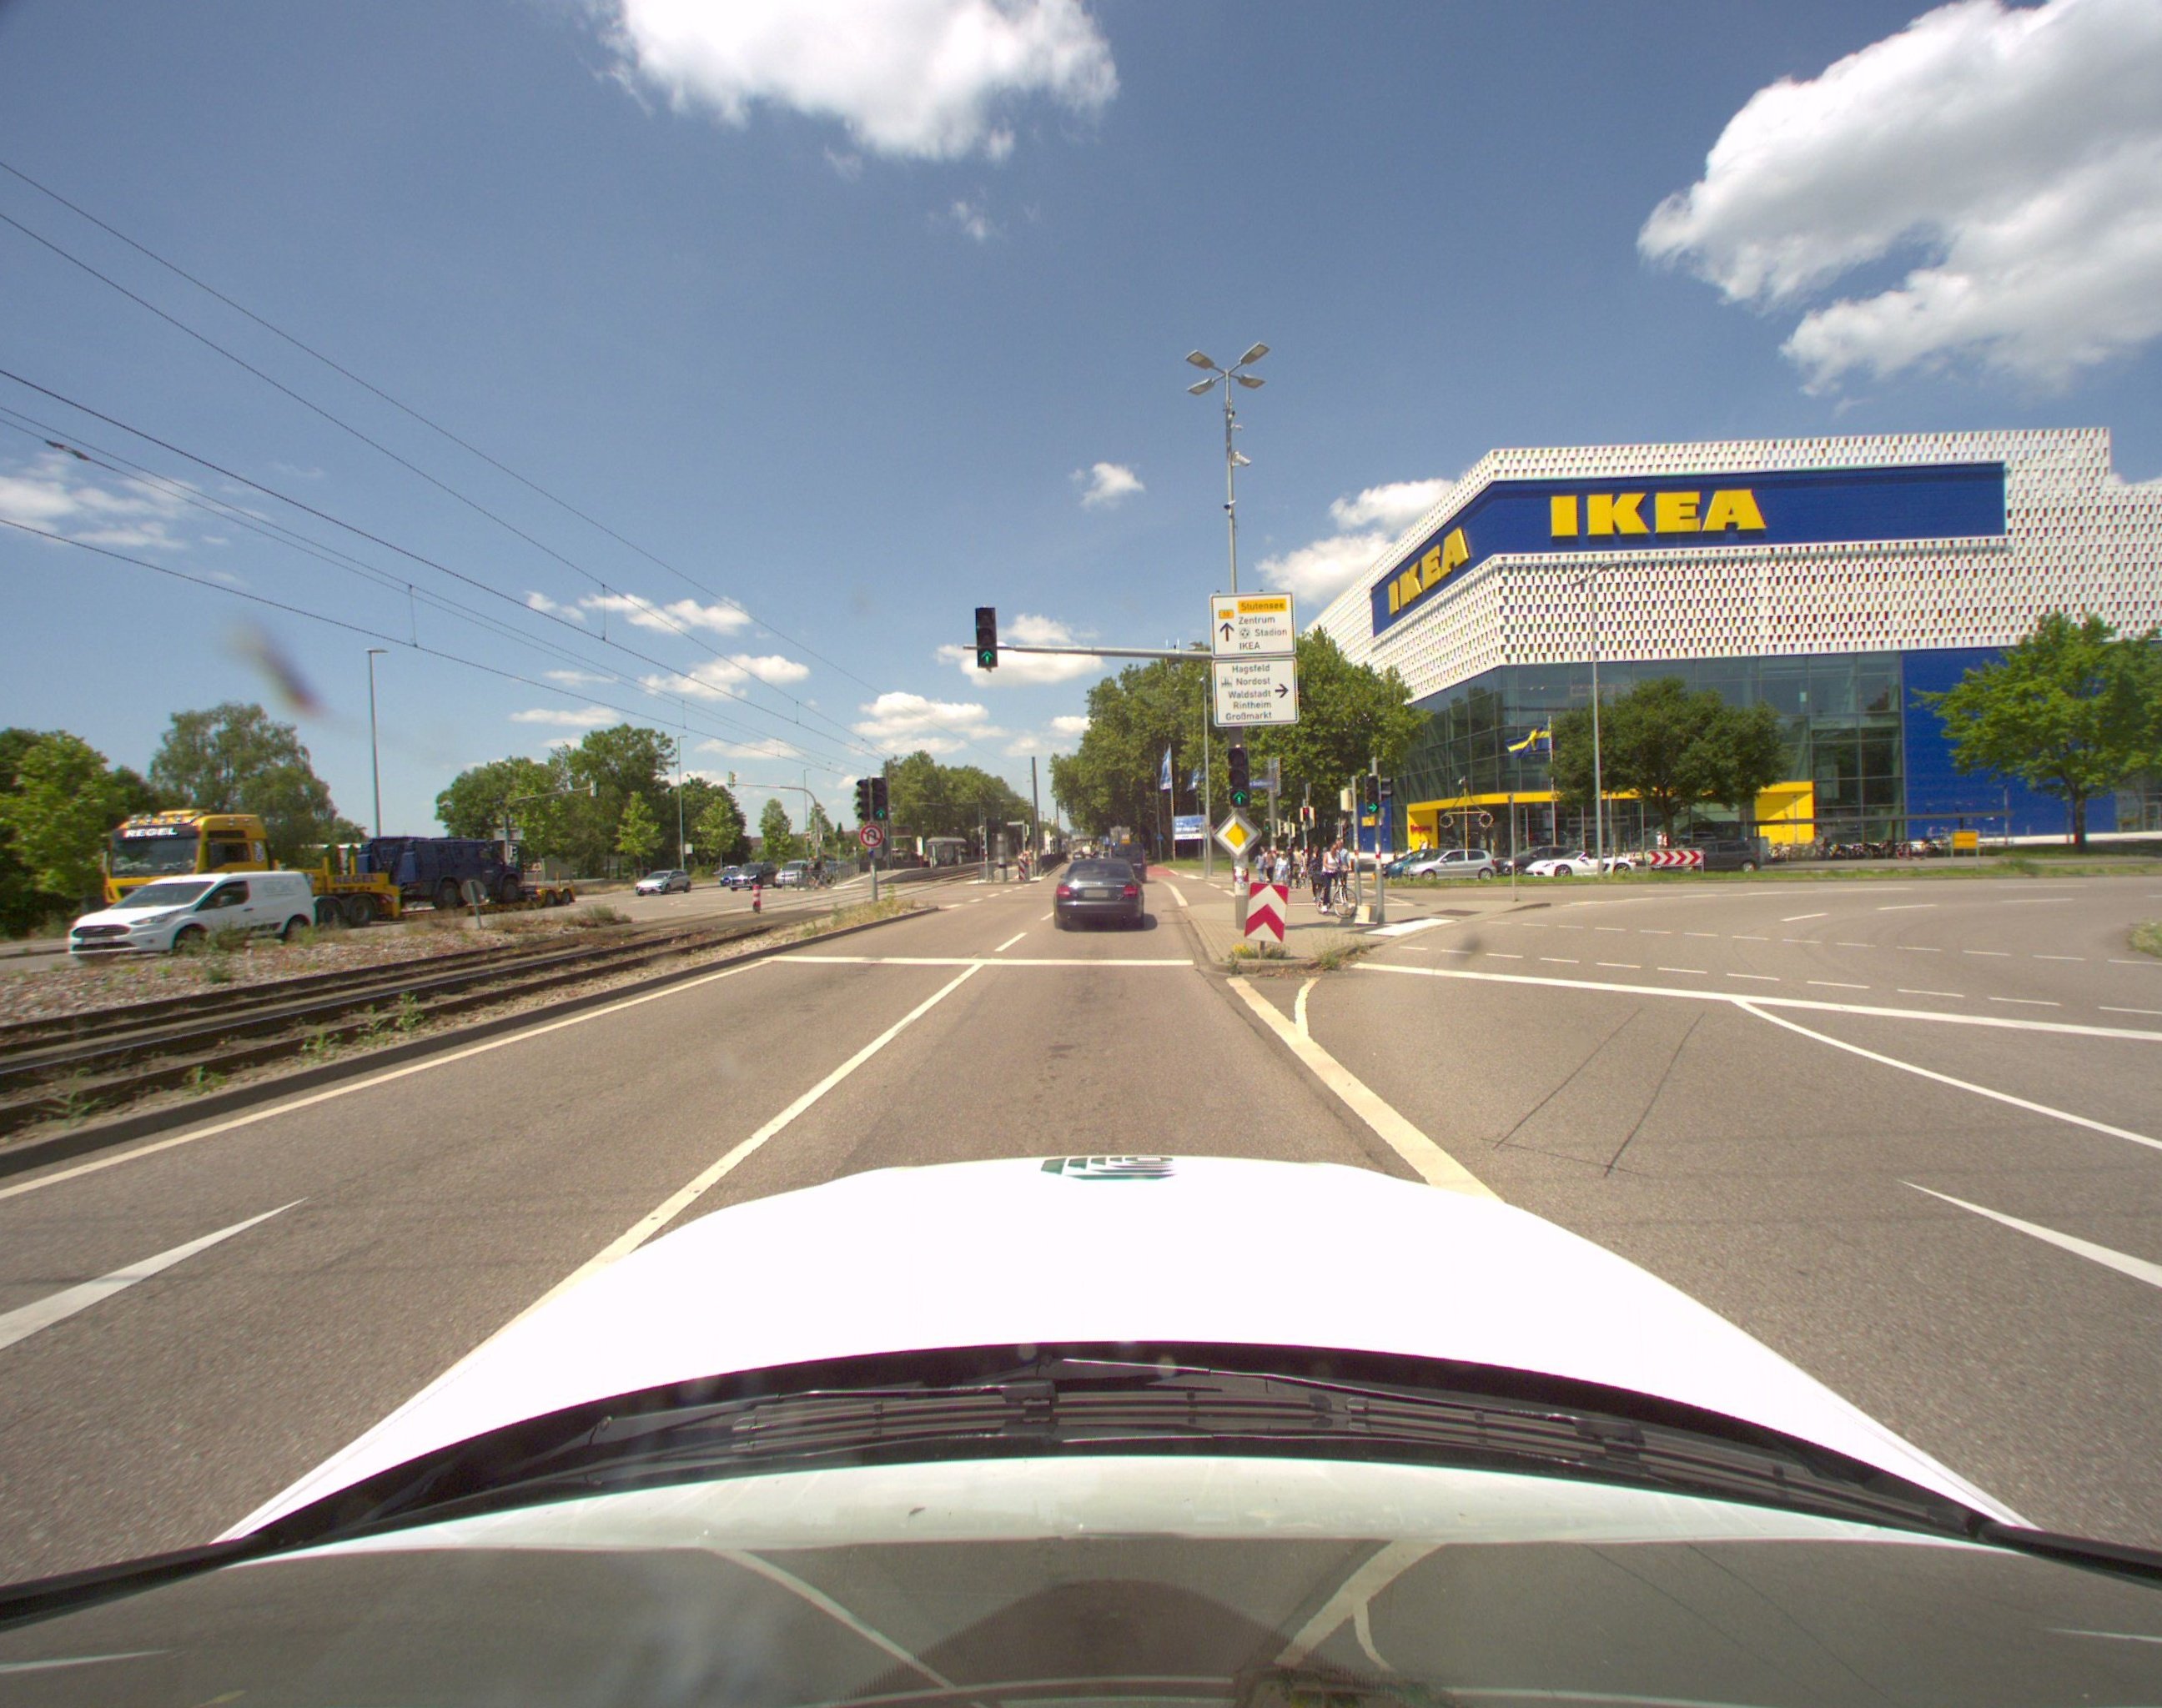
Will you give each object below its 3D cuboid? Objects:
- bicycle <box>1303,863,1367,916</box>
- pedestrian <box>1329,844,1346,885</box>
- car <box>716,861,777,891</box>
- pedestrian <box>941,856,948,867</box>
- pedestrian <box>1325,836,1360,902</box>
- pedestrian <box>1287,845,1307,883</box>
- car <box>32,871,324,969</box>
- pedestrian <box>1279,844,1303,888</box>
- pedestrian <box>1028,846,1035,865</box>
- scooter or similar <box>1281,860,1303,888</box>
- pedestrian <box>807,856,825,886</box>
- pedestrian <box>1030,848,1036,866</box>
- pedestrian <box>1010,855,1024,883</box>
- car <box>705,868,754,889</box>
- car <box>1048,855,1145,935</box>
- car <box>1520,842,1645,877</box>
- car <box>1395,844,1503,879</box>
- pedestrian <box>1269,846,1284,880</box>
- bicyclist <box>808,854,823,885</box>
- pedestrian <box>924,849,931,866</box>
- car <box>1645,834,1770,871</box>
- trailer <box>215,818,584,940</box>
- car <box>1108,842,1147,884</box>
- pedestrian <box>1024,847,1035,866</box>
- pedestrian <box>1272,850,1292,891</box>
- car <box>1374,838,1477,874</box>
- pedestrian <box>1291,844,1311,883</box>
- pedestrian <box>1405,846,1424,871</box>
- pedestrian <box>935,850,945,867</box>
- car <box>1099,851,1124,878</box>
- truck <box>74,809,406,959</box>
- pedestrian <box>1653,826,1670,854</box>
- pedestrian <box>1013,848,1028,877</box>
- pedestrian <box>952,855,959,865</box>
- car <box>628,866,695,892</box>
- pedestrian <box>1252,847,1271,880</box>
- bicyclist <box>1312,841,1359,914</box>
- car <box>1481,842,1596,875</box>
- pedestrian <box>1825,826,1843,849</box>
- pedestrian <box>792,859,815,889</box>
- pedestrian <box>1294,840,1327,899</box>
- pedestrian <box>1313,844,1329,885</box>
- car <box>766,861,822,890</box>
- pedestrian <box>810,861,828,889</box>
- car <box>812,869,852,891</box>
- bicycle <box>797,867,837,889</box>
[{"bbox_3d":[6.037,0.826,19.438,0.827,1.162,1.876,-1,0,-4],"label":"bicycle"},{"bbox_3d":[10.367,0.413,32.944,0.598,1.638,0.867,-1,-1,15],"label":"pedestrian"},{"bbox_3d":[-20.407,1.328,49.860,1.986,1.629,4.001,-1,1,1],"label":"car"},{"bbox_3d":[-14.521,0.821,86.891,0.574,1.094,0.639,-2,0,1],"label":"pedestrian"},{"bbox_3d":[7.645,0.434,23.828,0.800,1.865,0.799,-1,0,4],"label":"pedestrian"},{"bbox_3d":[9.621,0.423,36.330,0.788,1.659,0.856,-1,0,17],"label":"pedestrian"},{"bbox_3d":[-19.998,1.348,18.414,1.992,1.838,4.422,-1,0,-7],"label":"car"},{"bbox_3d":[8.250,0.459,32.050,0.778,1.672,0.949,-1,0,7],"label":"pedestrian"},{"bbox_3d":[-4.500,0.135,74.241,0.612,1.681,0.719,-1,0,-2],"label":"pedestrian"},{"bbox_3d":[8.182,0.759,31.574,0.686,1.031,0.864,-1,0,7],"label":"scooter or similar"},{"bbox_3d":[-15.256,0.958,46.826,0.760,1.672,0.763,-2,0,-2],"label":"pedestrian"},{"bbox_3d":[-4.276,0.238,72.797,0.496,1.577,0.557,-2,0,-1],"label":"pedestrian"},{"bbox_3d":[-3.686,0.876,46.983,0.783,1.572,0.764,-1,0,-3],"label":"pedestrian"},{"bbox_3d":[-27.519,1.903,63.959,1.987,1.444,4.348,-1,0,-1],"label":"car"},{"bbox_3d":[0.394,0.786,17.601,1.835,1.484,4.003,-1,0,2],"label":"car"},{"bbox_3d":[21.393,0.221,34.867,4.201,1.398,1.805,-1,0,3],"label":"car"},{"bbox_3d":[15.672,0.315,34.830,3.808,1.397,1.805,-1,0,2],"label":"car"},{"bbox_3d":[9.694,0.449,40.352,0.618,1.683,0.729,-1,0,18],"label":"pedestrian"},{"bbox_3d":[-14.036,0.818,43.073,0.665,1.615,0.729,-1,0,-16],"label":"bicyclist"},{"bbox_3d":[-14.556,0.328,77.295,0.556,1.638,0.804,-2,0,-7],"label":"pedestrian"},{"bbox_3d":[29.263,-0.073,38.131,4.382,1.584,1.864,-1,0,2],"label":"car"},{"bbox_3d":[-26.552,0.767,33.855,3.108,3.870,15.463,-1,0,-3],"label":"trailer"},{"bbox_3d":[2.322,0.430,41.152,1.841,1.959,4.146,-1,0,2],"label":"car"},{"bbox_3d":[-4.483,0.218,70.997,0.888,1.605,0.924,-2,0,-1],"label":"pedestrian"},{"bbox_3d":[7.285,0.589,29.547,0.586,1.476,0.807,0,0,6],"label":"pedestrian"},{"bbox_3d":[16.002,0.076,37.959,3.976,1.555,1.999,-1,0,-2],"label":"car"},{"bbox_3d":[9.507,0.421,35.208,0.788,1.659,0.856,-1,0,17],"label":"pedestrian"},{"bbox_3d":[21.882,0.275,53.487,0.916,1.586,0.632,-2,0,-5],"label":"pedestrian"},{"bbox_3d":[-14.312,0.487,82.797,0.729,1.729,0.582,-2,0,37],"label":"pedestrian"},{"bbox_3d":[2.363,0.785,63.486,1.841,1.959,4.146,-1,0,2],"label":"car"},{"bbox_3d":[-26.105,0.783,26.047,3.120,4.038,7.464,-1,0,-4],"label":"truck"},{"bbox_3d":[42.996,-1.028,60.302,0.791,2.013,0.735,-1,0,12],"label":"pedestrian"},{"bbox_3d":[-3.814,0.504,51.376,0.861,1.802,0.882,-1,0,-4],"label":"pedestrian"},{"bbox_3d":[-14.552,0.688,94.492,0.574,1.190,0.639,-2,0,1],"label":"pedestrian"},{"bbox_3d":[-26.411,1.518,51.425,1.987,1.463,4.277,-1,0,0],"label":"car"},{"bbox_3d":[8.843,0.456,39.887,0.759,1.606,0.901,-1,0,18],"label":"pedestrian"},{"bbox_3d":[6.034,0.543,19.361,0.812,1.700,0.798,-1,0,-4],"label":"bicyclist"},{"bbox_3d":[21.492,0.185,38.356,4.387,1.443,1.853,-1,0,-1],"label":"car"},{"bbox_3d":[53.362,-1.169,57.694,0.765,1.586,0.579,-2,0,-5],"label":"pedestrian"},{"bbox_3d":[-15.122,1.081,44.332,0.954,1.610,0.763,-2,0,-2],"label":"pedestrian"},{"bbox_3d":[6.956,0.473,24.734,0.800,1.759,0.799,-1,0,4],"label":"pedestrian"},{"bbox_3d":[9.758,0.420,33.129,0.601,1.638,0.867,-1,-1,15],"label":"pedestrian"},{"bbox_3d":[-17.762,1.302,50.618,1.986,1.629,4.001,-1,0,1],"label":"car"},{"bbox_3d":[-14.610,1.158,45.446,0.760,1.548,0.763,-2,0,-2],"label":"pedestrian"},{"bbox_3d":[-20.775,2.144,68.028,1.986,1.629,4.001,-1,0,1],"label":"car"},{"bbox_3d":[-13.958,1.270,43.099,1.975,1.101,0.760,-1,0,-16],"label":"bicycle"}]
